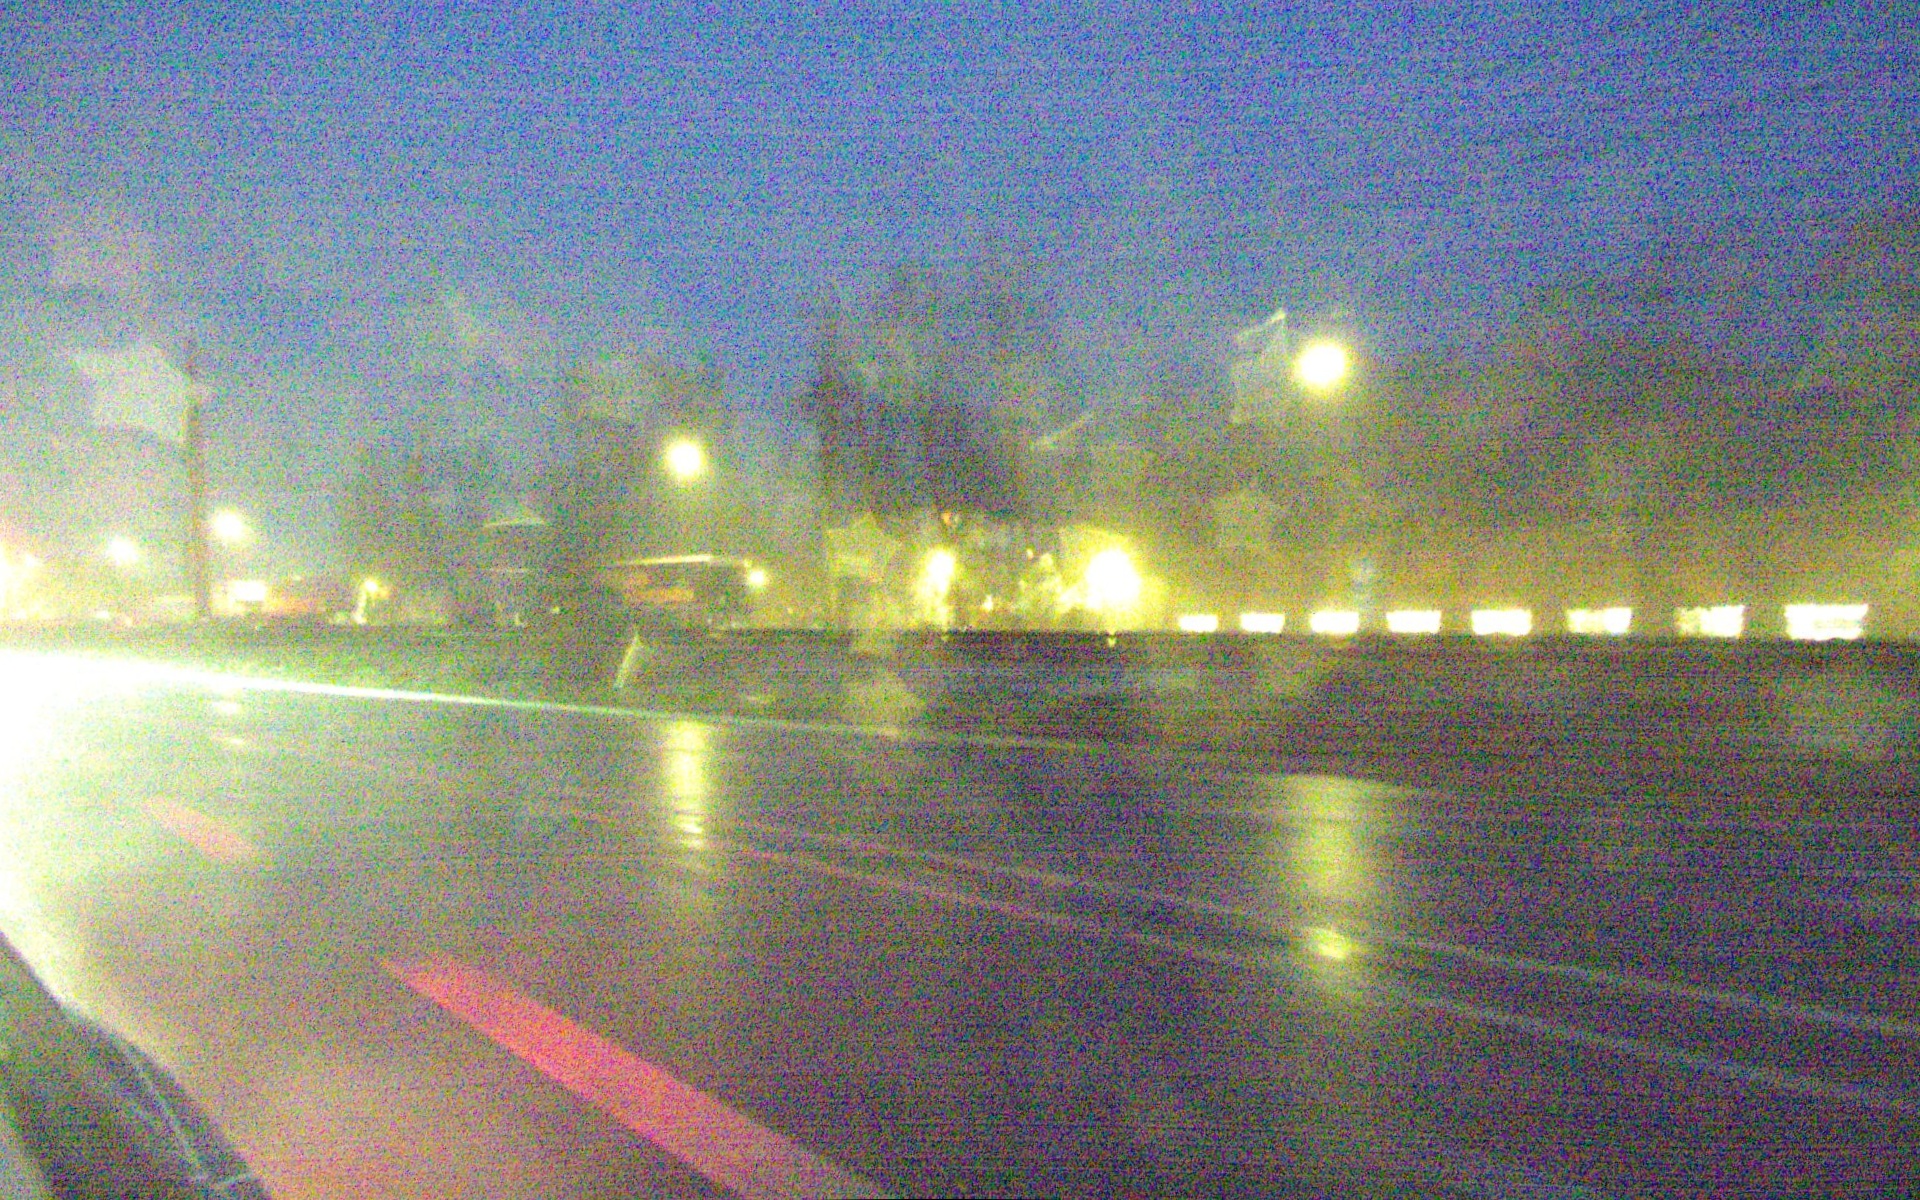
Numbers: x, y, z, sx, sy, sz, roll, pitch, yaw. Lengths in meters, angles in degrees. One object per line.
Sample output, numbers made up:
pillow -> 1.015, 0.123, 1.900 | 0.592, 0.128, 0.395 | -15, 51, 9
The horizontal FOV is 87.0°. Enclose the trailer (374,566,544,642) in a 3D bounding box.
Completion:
trailer -> -34.879, 0.247, 69.958 | 15.492, 4.643, 3.935 | 0, 4, 38

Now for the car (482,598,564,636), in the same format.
car -> -21.468, 0.842, 49.648 | 4.211, 1.706, 1.770 | -2, 1, 37

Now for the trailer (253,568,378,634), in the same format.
trailer -> -55.166, 0.071, 86.351 | 14.813, 5.049, 3.935 | 0, 4, 38

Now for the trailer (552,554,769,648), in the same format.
trailer -> -17.137, 0.029, 56.976 | 14.226, 4.643, 3.935 | 0, 4, 38

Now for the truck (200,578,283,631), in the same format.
truck -> -68.754, 0.434, 96.731 | 10.197, 4.643, 3.408 | 0, 4, 38
